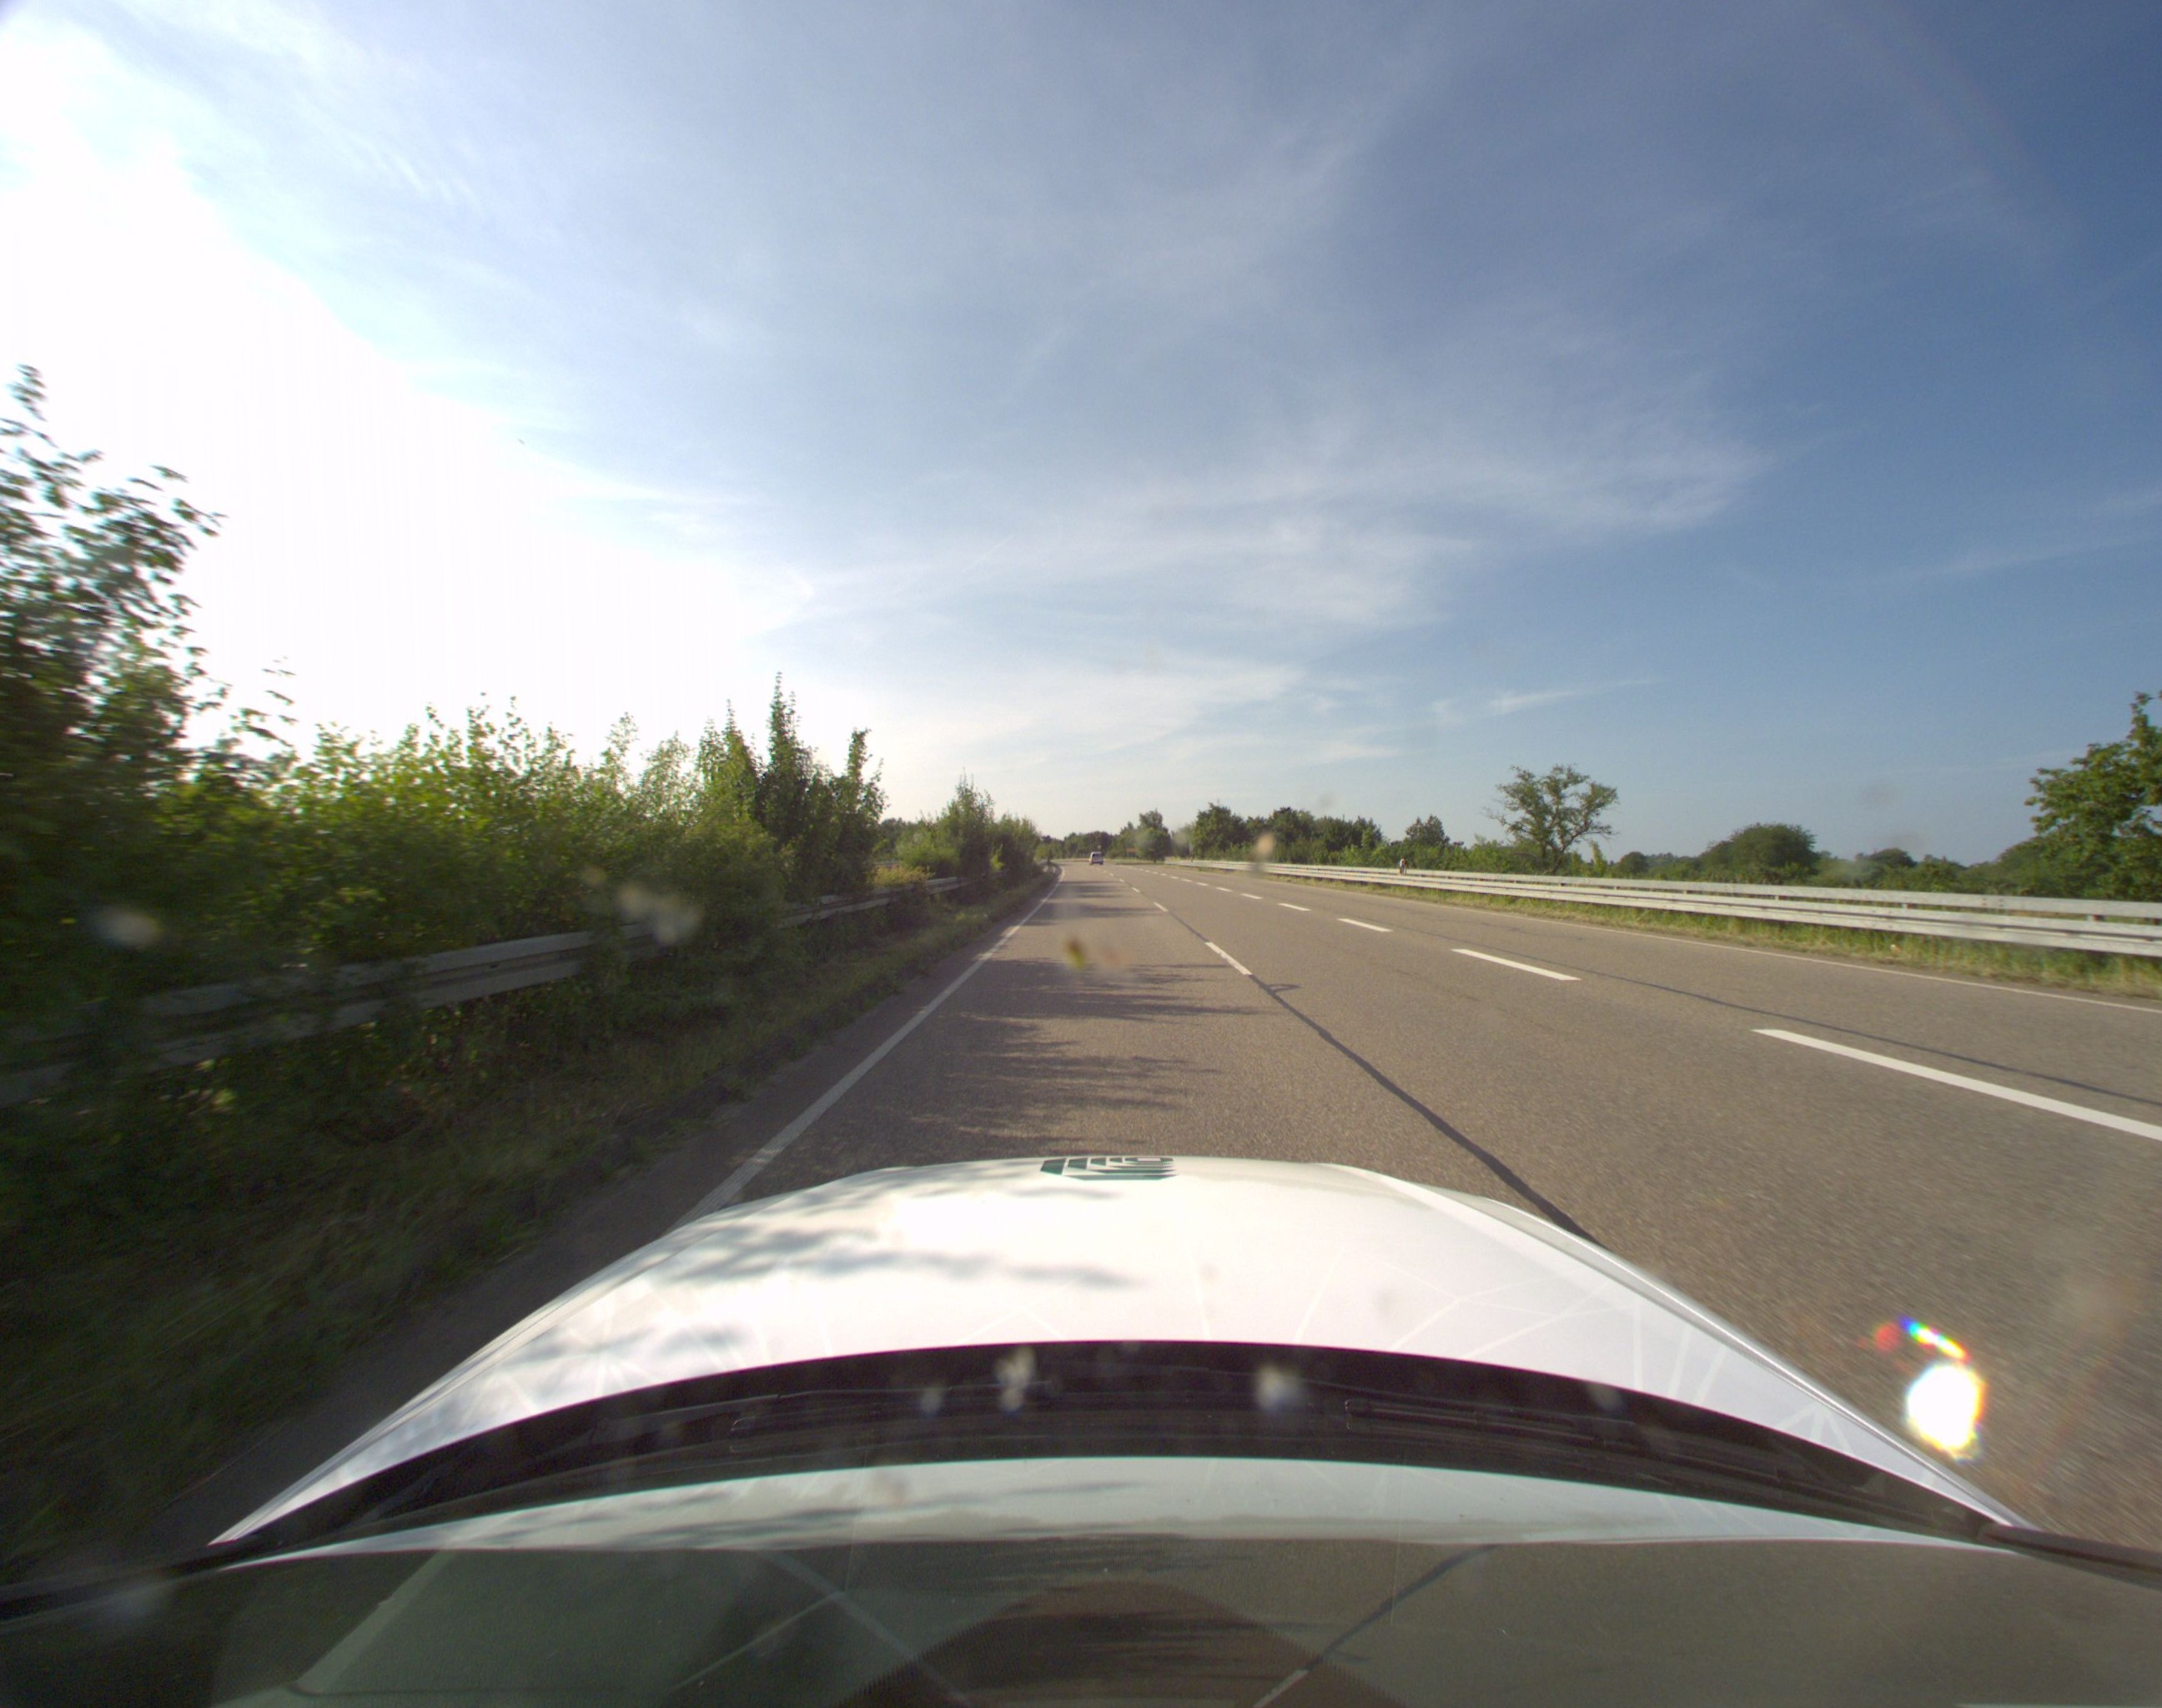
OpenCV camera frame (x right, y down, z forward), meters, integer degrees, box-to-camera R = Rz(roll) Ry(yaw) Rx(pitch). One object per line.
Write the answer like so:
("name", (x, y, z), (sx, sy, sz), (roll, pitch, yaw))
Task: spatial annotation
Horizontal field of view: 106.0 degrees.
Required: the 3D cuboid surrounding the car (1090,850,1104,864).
("car", (2.289, 0.485, 115.849), (1.761, 1.882, 3.996), (-1, -1, -3))
